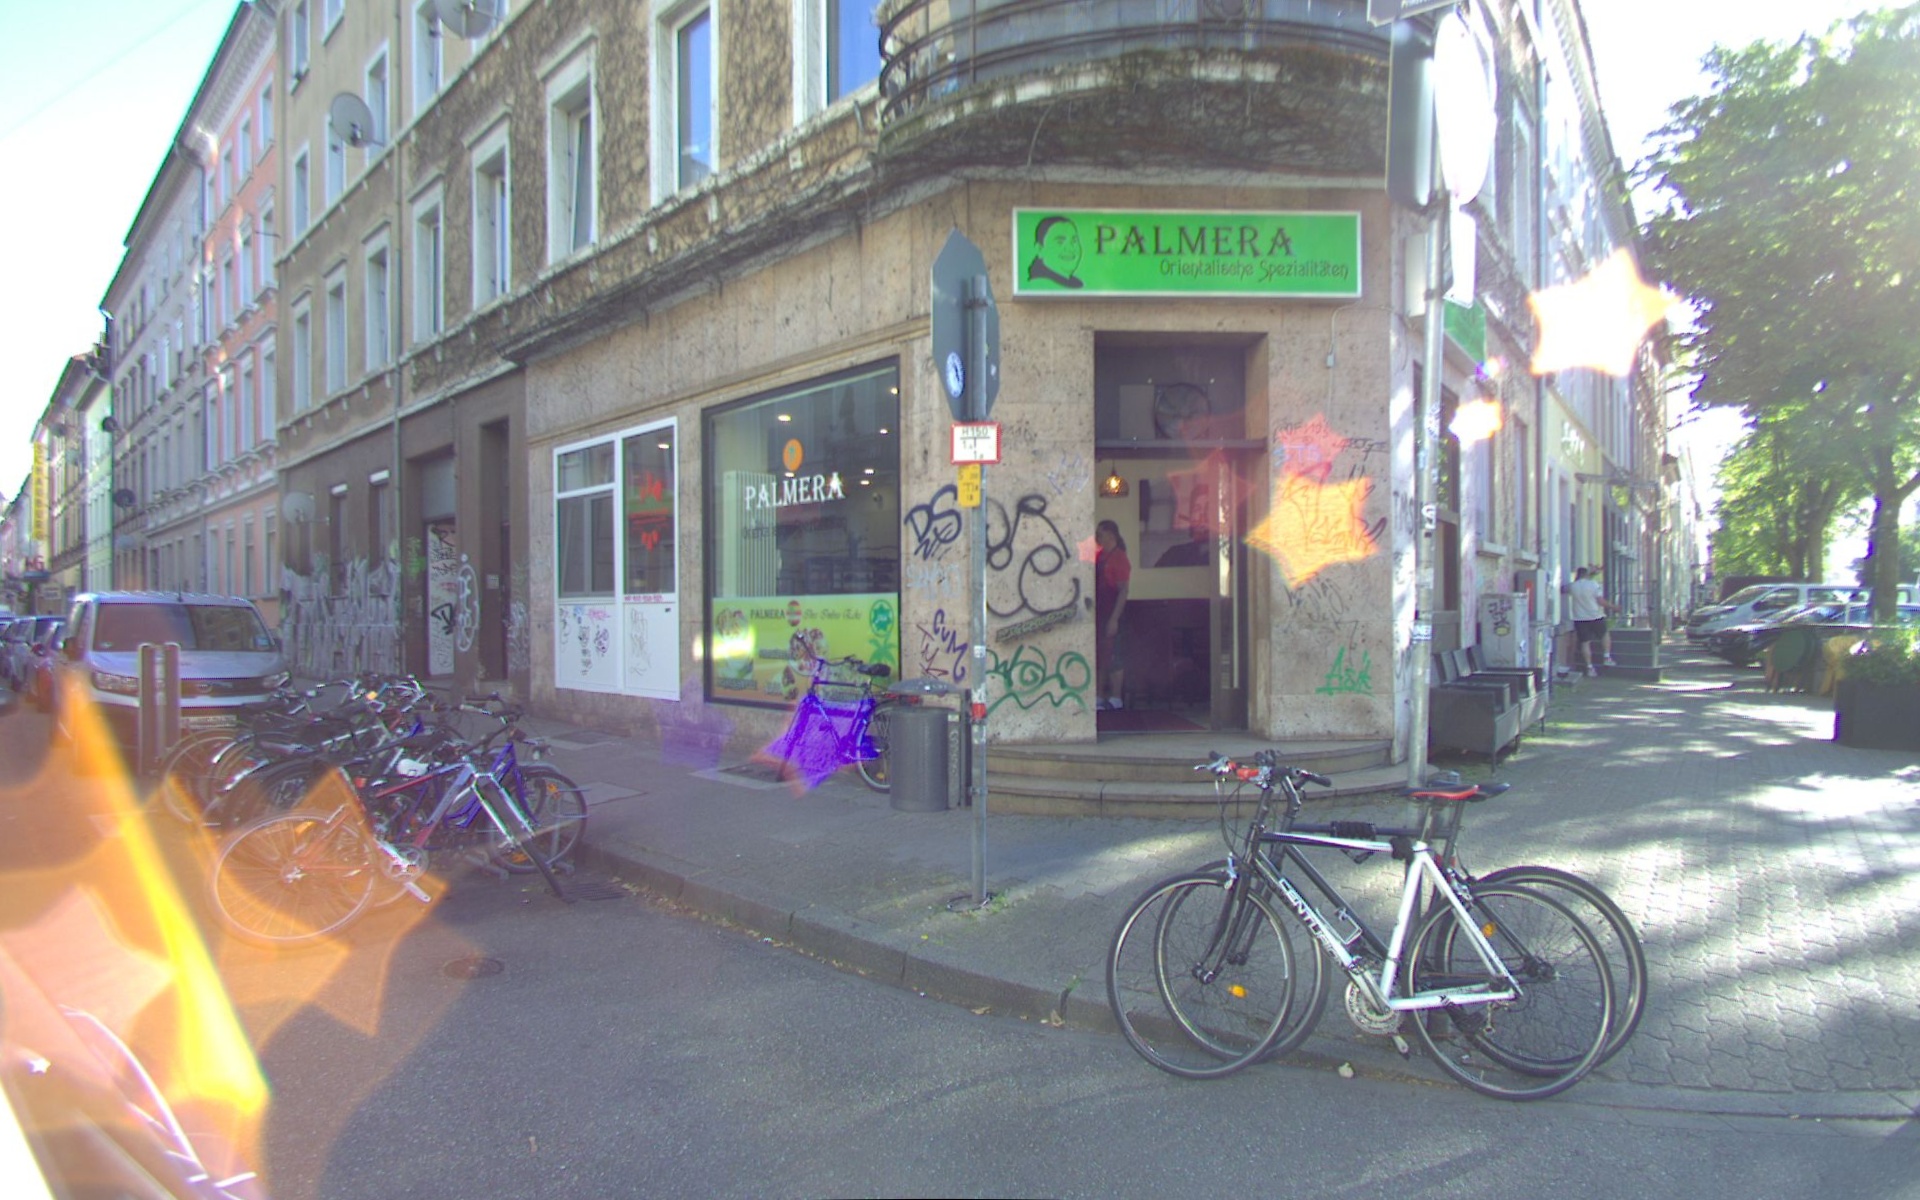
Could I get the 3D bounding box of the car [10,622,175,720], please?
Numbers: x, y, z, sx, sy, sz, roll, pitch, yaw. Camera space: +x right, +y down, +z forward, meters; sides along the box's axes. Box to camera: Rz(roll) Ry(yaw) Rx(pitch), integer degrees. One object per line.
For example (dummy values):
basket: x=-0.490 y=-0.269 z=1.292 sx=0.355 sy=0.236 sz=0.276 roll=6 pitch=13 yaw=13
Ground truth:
car: x=-14.955 y=1.141 z=17.370 sx=4.203 sy=1.485 sz=1.660 roll=-1 pitch=-3 yaw=43

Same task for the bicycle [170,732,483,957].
bicycle: x=-3.099 y=1.151 z=5.056 sx=0.354 sy=0.824 sz=1.297 roll=-2 pitch=-1 yaw=34

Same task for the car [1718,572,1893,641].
car: x=34.201 y=0.226 z=41.178 sx=5.185 sy=2.597 sz=2.219 roll=2 pitch=0 yaw=35

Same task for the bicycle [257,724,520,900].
bicycle: x=-3.309 y=1.191 z=5.965 sx=0.381 sy=0.824 sz=1.297 roll=-2 pitch=-3 yaw=34

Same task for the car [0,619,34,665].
car: x=-37.363 y=1.627 z=39.490 sx=3.862 sy=1.696 sz=1.660 roll=-2 pitch=-1 yaw=45

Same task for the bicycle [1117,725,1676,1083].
bicycle: x=1.392 y=0.984 z=3.419 sx=1.642 sy=1.054 sz=0.450 roll=-1 pitch=-1 yaw=4

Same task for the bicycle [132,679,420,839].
bicycle: x=-5.062 y=1.132 z=7.596 sx=0.405 sy=0.969 sz=1.745 roll=-2 pitch=-1 yaw=43

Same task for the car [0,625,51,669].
car: x=-33.748 y=1.646 z=36.162 sx=3.862 sy=1.474 sz=1.660 roll=-2 pitch=-1 yaw=45

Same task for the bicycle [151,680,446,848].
bicycle: x=-4.722 y=1.123 z=7.336 sx=0.422 sy=0.969 sz=1.745 roll=-2 pitch=-1 yaw=43

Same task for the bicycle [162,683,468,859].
bicycle: x=-4.423 y=1.122 z=7.054 sx=0.443 sy=0.969 sz=1.745 roll=-2 pitch=-1 yaw=43

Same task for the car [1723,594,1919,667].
car: x=19.574 y=0.650 z=21.832 sx=4.601 sy=1.502 sz=1.680 roll=-1 pitch=-1 yaw=15

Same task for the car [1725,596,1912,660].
car: x=22.399 y=0.726 z=26.540 sx=3.292 sy=1.514 sz=1.682 roll=-1 pitch=2 yaw=13

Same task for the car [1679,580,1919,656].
car: x=23.883 y=0.509 z=28.657 sx=5.296 sy=2.006 sz=2.029 roll=-1 pitch=-1 yaw=14

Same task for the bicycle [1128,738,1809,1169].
bicycle: x=1.382 y=0.995 z=2.954 sx=1.666 sy=1.053 sz=0.458 roll=-3 pitch=-1 yaw=4

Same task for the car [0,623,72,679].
car: x=-26.582 y=1.412 z=28.832 sx=4.315 sy=1.474 sz=1.660 roll=-2 pitch=-1 yaw=45

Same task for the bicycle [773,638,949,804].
bicycle: x=-0.780 y=0.855 z=7.626 sx=1.592 sy=1.100 sz=0.393 roll=-1 pitch=-1 yaw=45

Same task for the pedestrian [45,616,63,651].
pedestrian: x=-47.948 y=1.763 z=53.554 sx=0.617 sy=1.844 sz=0.595 roll=-2 pitch=0 yaw=-45

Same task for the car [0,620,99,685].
car: x=-23.103 y=1.289 z=25.542 sx=3.611 sy=1.504 sz=1.661 roll=-2 pitch=-1 yaw=42

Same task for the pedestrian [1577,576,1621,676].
pedestrian: x=10.802 y=0.434 z=17.107 sx=0.538 sy=1.655 sz=0.563 roll=-3 pitch=-2 yaw=35

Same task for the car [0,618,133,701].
car: x=-18.214 y=1.158 z=20.573 sx=2.958 sy=1.561 sz=1.662 roll=-1 pitch=-2 yaw=41

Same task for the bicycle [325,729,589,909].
bicycle: x=-2.897 y=1.228 z=5.951 sx=0.361 sy=0.824 sz=1.375 roll=-2 pitch=-3 yaw=34

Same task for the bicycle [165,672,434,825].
bicycle: x=-5.209 y=1.127 z=8.075 sx=0.463 sy=0.996 sz=1.745 roll=-2 pitch=-1 yaw=43

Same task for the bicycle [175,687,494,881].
bicycle: x=-3.992 y=1.119 z=6.618 sx=0.480 sy=0.969 sz=1.751 roll=-1 pitch=-1 yaw=32

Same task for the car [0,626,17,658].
car: x=-45.021 y=1.948 z=47.014 sx=3.862 sy=1.426 sz=1.660 roll=-2 pitch=-1 yaw=45

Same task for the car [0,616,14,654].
car: x=-49.686 y=1.789 z=51.868 sx=1.727 sy=1.906 sz=4.775 roll=0 pitch=-1 yaw=-43

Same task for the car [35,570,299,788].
car: x=-8.869 y=0.782 z=11.166 sx=4.521 sy=1.925 sz=1.660 roll=-2 pitch=-4 yaw=45

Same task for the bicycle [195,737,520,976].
bicycle: x=-2.793 y=1.142 z=4.808 sx=0.370 sy=0.824 sz=1.297 roll=-2 pitch=-1 yaw=34

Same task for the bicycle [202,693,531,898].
bicycle: x=-3.610 y=1.136 z=6.312 sx=0.427 sy=0.969 sz=1.748 roll=-2 pitch=-1 yaw=37

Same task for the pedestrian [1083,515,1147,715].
pedestrian: x=1.381 y=0.130 z=8.997 sx=0.429 sy=1.729 sz=0.404 roll=-1 pitch=0 yaw=27

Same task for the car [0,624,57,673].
car: x=-30.069 y=1.524 z=32.402 sx=1.658 sy=1.474 sz=3.865 roll=0 pitch=-1 yaw=-41

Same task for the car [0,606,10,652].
car: x=-57.753 y=1.724 z=59.824 sx=5.844 sy=2.611 sz=2.065 roll=-2 pitch=-1 yaw=44

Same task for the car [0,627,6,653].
car: x=-53.533 y=2.208 z=55.471 sx=3.862 sy=1.400 sz=1.660 roll=-2 pitch=-1 yaw=45
